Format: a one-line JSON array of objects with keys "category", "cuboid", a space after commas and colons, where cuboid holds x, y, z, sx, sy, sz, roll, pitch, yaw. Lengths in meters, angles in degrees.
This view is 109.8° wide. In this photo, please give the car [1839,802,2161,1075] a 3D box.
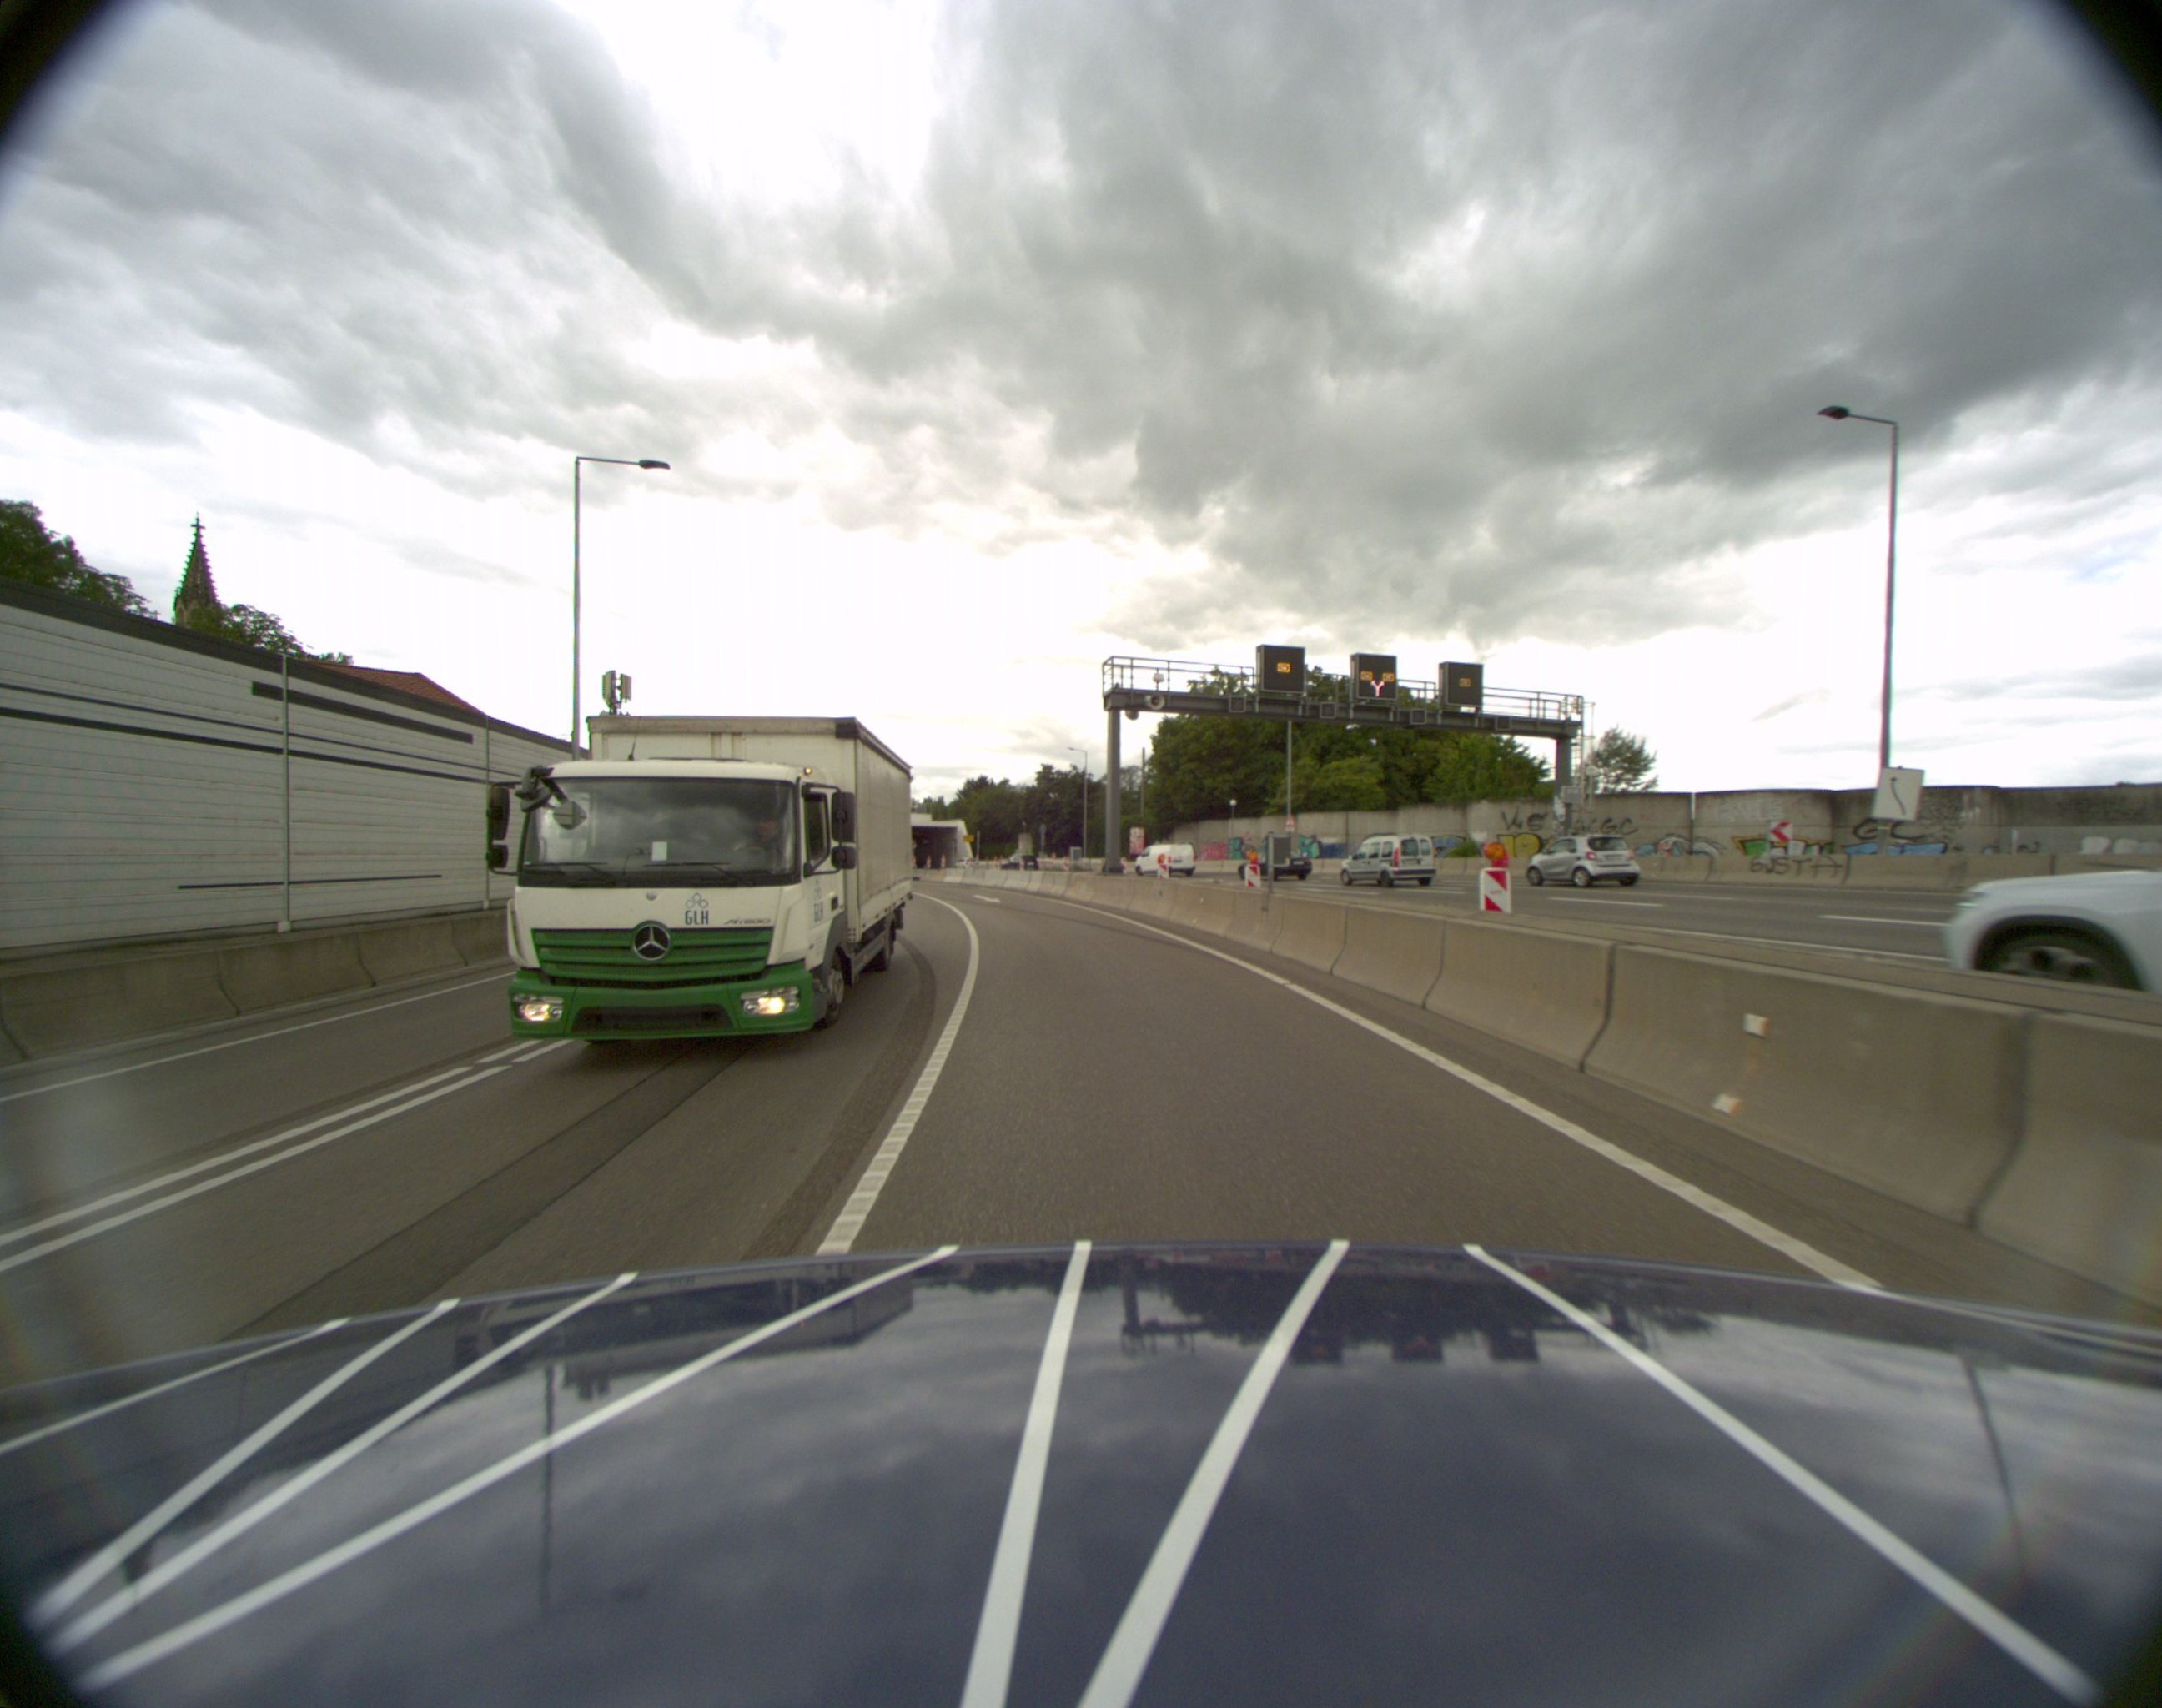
[{"category": "car", "cuboid": [7.120, 0.444, 3.543, 2.102, 1.543, 5.143, -2, 0, 2]}]

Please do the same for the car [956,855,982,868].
[{"category": "car", "cuboid": [-12.748, 0.837, 86.407, 1.768, 1.426, 4.135, -1, 1, -26]}]

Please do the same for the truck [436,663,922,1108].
[{"category": "truck", "cuboid": [-3.702, 0.189, 9.328, 2.638, 3.220, 7.411, -1, 1, -6]}]

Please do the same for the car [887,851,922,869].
[{"category": "car", "cuboid": [-17.496, 0.546, 75.069, 1.959, 1.740, 5.262, -1, 1, -29]}]

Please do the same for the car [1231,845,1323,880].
[{"category": "car", "cuboid": [9.005, 0.350, 35.303, 2.001, 1.480, 4.581, -1, 1, -17]}]

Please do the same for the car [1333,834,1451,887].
[{"category": "car", "cuboid": [10.863, 0.208, 26.910, 2.000, 1.676, 4.256, -1, 0, -7]}]

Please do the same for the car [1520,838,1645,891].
[{"category": "car", "cuboid": [15.022, 0.285, 22.920, 1.630, 1.467, 2.939, -1, 1, -6]}]

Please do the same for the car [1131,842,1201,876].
[{"category": "car", "cuboid": [5.145, 0.271, 46.794, 2.247, 1.940, 5.095, -1, 1, -20]}]

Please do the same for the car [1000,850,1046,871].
[{"category": "car", "cuboid": [-5.114, 0.577, 66.468, 2.003, 1.686, 4.916, -2, 1, -30]}]
